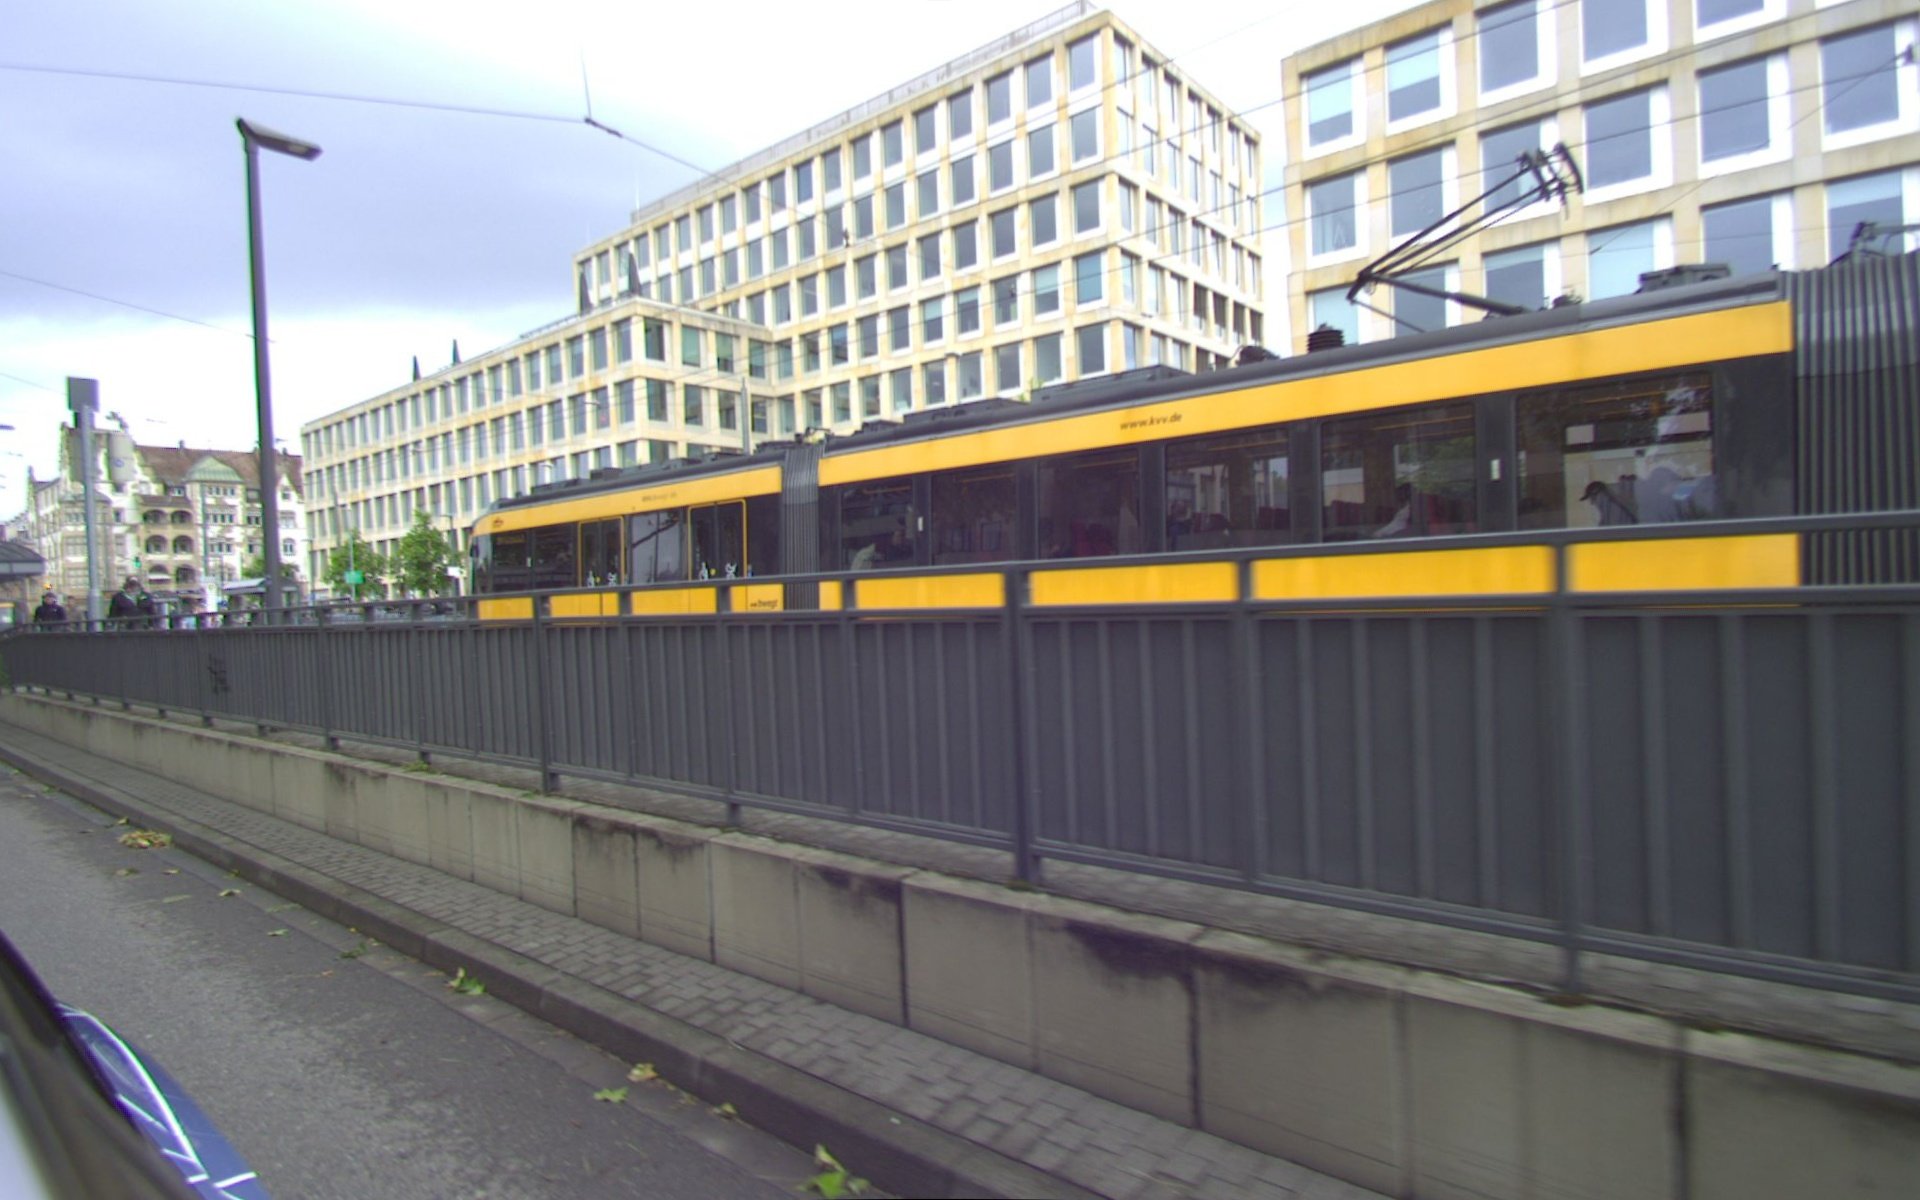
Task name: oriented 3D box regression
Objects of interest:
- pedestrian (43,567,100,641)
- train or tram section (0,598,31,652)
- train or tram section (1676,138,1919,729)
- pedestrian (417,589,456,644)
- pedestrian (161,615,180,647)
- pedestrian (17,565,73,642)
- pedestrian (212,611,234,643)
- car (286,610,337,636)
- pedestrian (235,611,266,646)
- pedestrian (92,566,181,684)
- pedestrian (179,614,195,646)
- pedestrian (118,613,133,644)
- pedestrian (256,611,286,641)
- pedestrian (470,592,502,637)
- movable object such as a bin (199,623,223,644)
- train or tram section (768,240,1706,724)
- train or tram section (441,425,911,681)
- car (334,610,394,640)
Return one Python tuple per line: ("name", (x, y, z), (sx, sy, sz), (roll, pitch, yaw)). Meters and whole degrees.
("pedestrian", (-22.287, 0.092, 25.385), (1.107, 1.807, 0.666), (-2, 0, 27))
("train or tram section", (-72.068, 1.859, 74.942), (13.505, 3.719, 2.827), (-1, 1, 39))
("train or tram section", (11.987, -1.322, 4.940), (13.609, 4.210, 3.148), (-1, 1, 40))
("pedestrian", (-17.807, 0.567, 34.413), (1.159, 1.809, 0.704), (-1, 1, 39))
("pedestrian", (-45.109, 1.760, 57.818), (0.589, 1.782, 0.588), (-2, 0, 3))
("pedestrian", (-21.841, 0.080, 24.166), (1.109, 1.807, 0.665), (-2, 1, 31))
("pedestrian", (-38.331, 1.411, 52.627), (0.649, 1.619, 0.578), (-2, 0, 7))
("car", (-45.144, 1.588, 70.433), (3.999, 1.674, 1.973), (-1, 1, 42))
("pedestrian", (-35.729, 1.407, 50.963), (0.939, 1.699, 1.027), (-1, 1, 43))
("pedestrian", (-14.744, 0.422, 18.120), (0.839, 2.029, 1.048), (-1, 1, 40))
("pedestrian", (-39.917, 1.522, 52.265), (0.529, 1.619, 0.566), (-2, 1, -44))
("pedestrian", (-50.179, 1.703, 60.849), (0.588, 1.782, 0.589), (-2, 1, -43))
("pedestrian", (-34.068, 1.283, 50.039), (0.939, 1.382, 1.027), (-1, 1, 43))
("pedestrian", (-21.805, 0.656, 46.588), (1.031, 2.029, 0.924), (-1, 1, 38))
("movable object such as a bin", (-38.512, 1.719, 52.035), (0.714, 1.029, 0.620), (-2, 0, 7))
("train or tram section", (2.433, -0.893, 13.000), (11.302, 3.891, 3.132), (-1, 1, 40))
("train or tram section", (-6.255, -0.661, 20.301), (11.302, 3.891, 3.205), (-1, 1, 40))
("car", (-36.410, 1.503, 61.797), (3.999, 1.674, 1.973), (-1, 1, 42))
